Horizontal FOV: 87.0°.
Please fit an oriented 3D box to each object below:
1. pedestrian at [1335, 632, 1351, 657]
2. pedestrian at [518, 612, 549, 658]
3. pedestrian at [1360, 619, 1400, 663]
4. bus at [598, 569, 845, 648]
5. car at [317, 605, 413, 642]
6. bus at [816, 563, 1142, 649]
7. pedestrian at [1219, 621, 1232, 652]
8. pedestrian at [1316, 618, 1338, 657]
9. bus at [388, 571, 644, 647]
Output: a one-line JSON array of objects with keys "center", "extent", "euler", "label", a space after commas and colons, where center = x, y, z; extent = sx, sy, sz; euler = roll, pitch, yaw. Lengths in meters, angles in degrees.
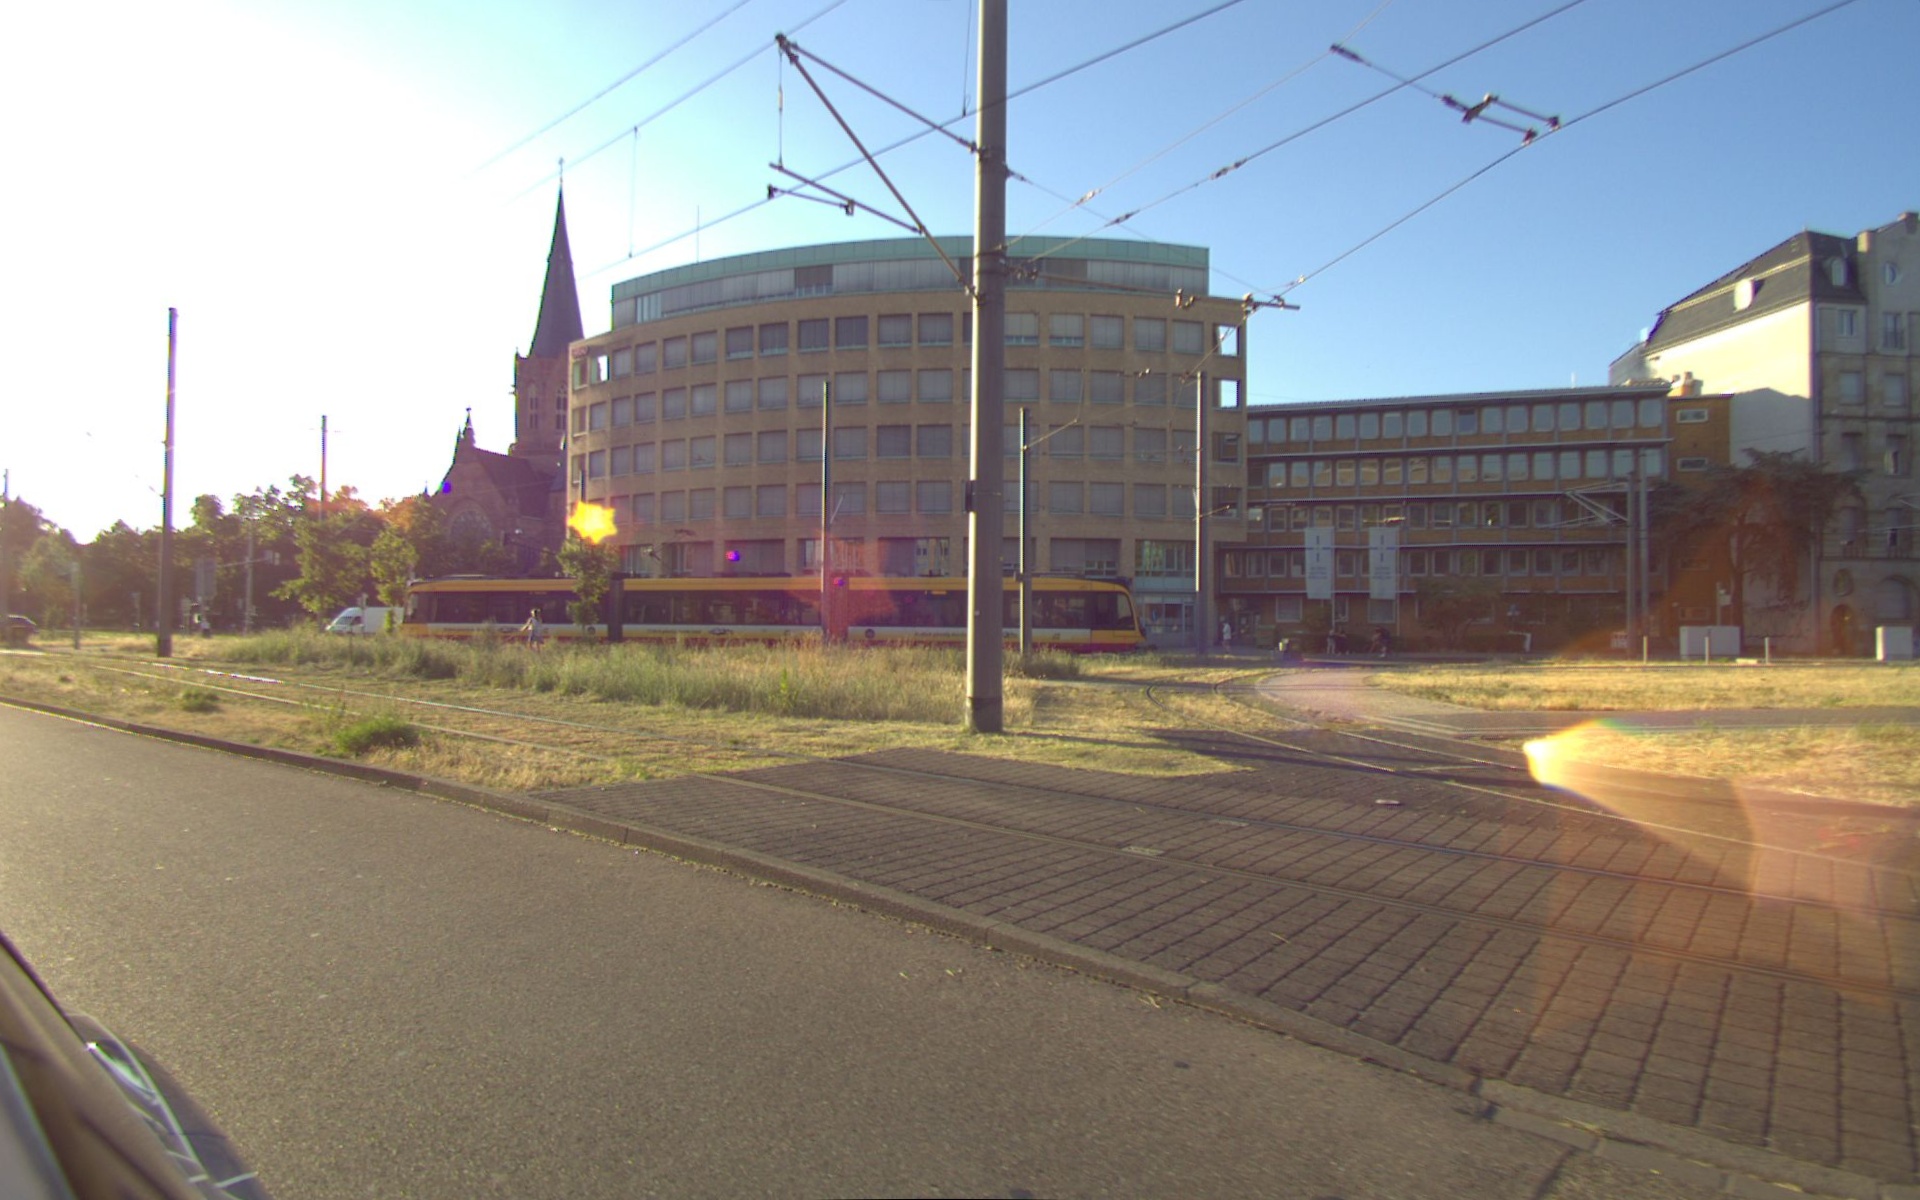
[{"center": [20.384, 2.378, 53.884], "extent": [0.675, 1.334, 0.566], "euler": [-1, -1, 7], "label": "pedestrian"}, {"center": [-13.740, 1.127, 32.625], "extent": [0.698, 1.470, 0.664], "euler": [-1, -1, 37], "label": "pedestrian"}, {"center": [20.496, 2.010, 49.433], "extent": [1.619, 2.110, 1.054], "euler": [-1, -1, 16], "label": "pedestrian"}, {"center": [-10.931, 0.426, 46.614], "extent": [10.638, 3.356, 3.742], "euler": [-1, -1, 15], "label": "bus"}, {"center": [-48.798, 1.959, 83.249], "extent": [2.290, 2.900, 7.159], "euler": [-1, -2, 18], "label": "car"}, {"center": [0.848, 0.317, 43.526], "extent": [13.577, 3.388, 3.745], "euler": [-1, -1, 14], "label": "bus"}, {"center": [14.574, 1.999, 55.512], "extent": [0.614, 1.705, 0.527], "euler": [-1, -1, 24], "label": "pedestrian"}, {"center": [19.844, 2.045, 54.750], "extent": [0.934, 2.028, 0.847], "euler": [-1, 3, 10], "label": "pedestrian"}, {"center": [-21.817, 0.479, 49.753], "extent": [12.024, 3.482, 3.741], "euler": [-1, -1, 17], "label": "bus"}]
